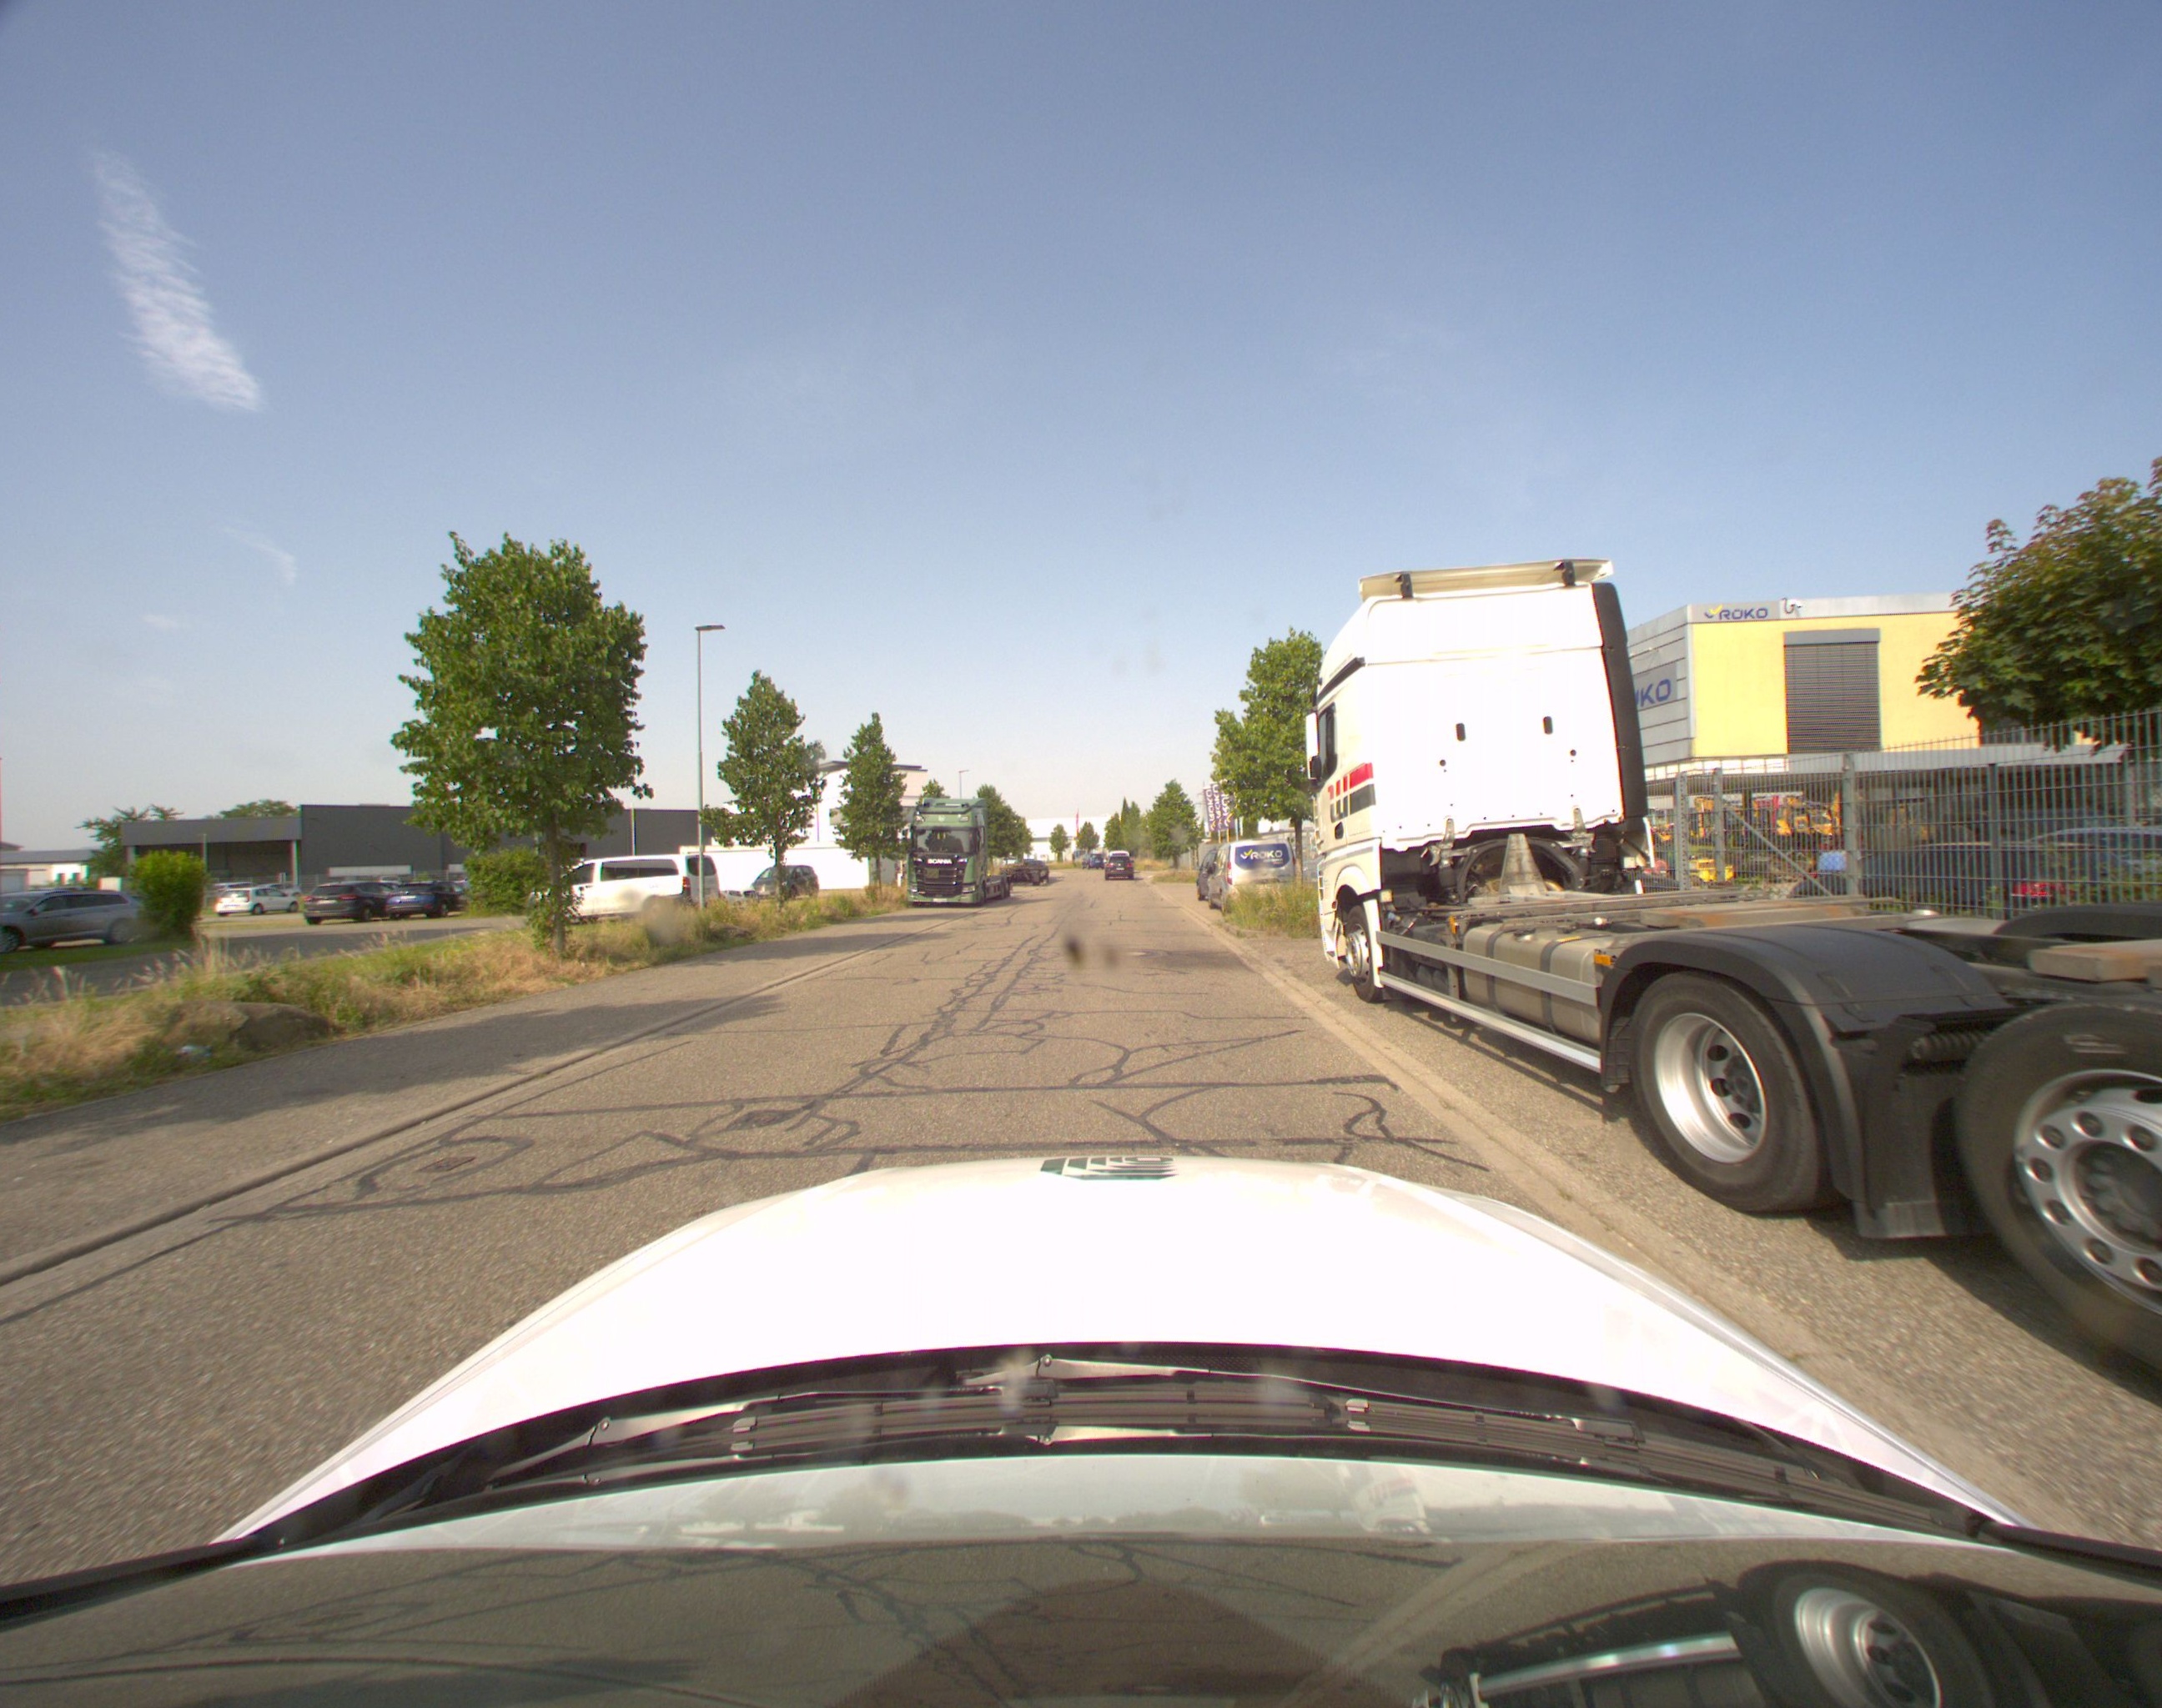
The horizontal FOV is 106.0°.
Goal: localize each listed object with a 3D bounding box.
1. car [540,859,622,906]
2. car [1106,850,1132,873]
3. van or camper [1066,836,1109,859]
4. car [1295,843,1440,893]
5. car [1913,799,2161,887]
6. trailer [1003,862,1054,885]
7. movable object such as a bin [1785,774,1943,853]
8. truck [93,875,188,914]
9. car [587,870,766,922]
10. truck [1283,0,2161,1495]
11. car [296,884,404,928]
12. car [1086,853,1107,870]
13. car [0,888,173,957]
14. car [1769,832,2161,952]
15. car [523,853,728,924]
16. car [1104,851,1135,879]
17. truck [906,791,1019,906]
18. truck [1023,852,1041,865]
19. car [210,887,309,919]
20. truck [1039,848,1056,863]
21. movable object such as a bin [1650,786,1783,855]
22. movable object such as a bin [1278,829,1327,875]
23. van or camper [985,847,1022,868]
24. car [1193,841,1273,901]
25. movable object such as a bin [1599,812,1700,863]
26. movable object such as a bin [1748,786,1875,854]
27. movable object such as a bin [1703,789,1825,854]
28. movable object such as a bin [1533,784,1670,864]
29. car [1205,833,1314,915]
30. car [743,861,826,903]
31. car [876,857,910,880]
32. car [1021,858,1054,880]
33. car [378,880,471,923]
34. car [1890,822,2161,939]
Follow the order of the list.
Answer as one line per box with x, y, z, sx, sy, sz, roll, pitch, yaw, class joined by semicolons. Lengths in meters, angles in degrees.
-29.250;1.631;47.868;2.050;2.547;5.443;-2;-1;-8;car
3.198;0.616;69.743;1.987;1.899;4.466;-2;0;0;car
0.812;-0.784;108.774;2.363;2.848;7.273;-1;-1;-29;van or camper
9.597;0.443;27.526;4.213;1.495;1.898;-2;1;-2;car
24.188;-0.280;20.548;4.338;2.002;1.897;-2;0;3;car
-3.271;1.197;52.240;2.119;1.232;7.169;0;0;6;trailer
43.230;-2.085;45.260;2.710;3.929;6.019;-3;-1;-2;movable object such as a bin
-67.716;2.886;58.724;1.982;2.514;4.009;-2;0;8;truck
-12.786;1.307;25.925;4.704;1.431;2.003;-2;0;5;car
3.699;-0.706;4.663;2.735;4.015;9.691;-4;0;2;truck
-28.393;1.965;31.799;1.974;1.486;3.968;-2;-1;-24;car
1.617;0.755;84.552;1.985;1.804;4.003;0;0;3;car
-25.872;1.682;20.576;1.576;1.481;4.504;-2;-1;-13;car
12.699;0.467;12.007;1.876;1.432;4.004;-2;0;4;car
-13.014;0.960;23.499;4.685;1.836;2.104;-2;0;2;car
2.608;0.709;55.336;1.985;1.804;4.003;0;0;3;car
-4.399;-0.128;32.478;2.444;3.882;9.812;0;-1;4;truck
-9.540;0.857;158.988;2.440;2.265;8.009;-2;0;3;truck
-44.419;2.620;44.176;1.574;1.481;4.139;-2;-1;-8;car
-6.583;0.338;158.845;2.440;2.826;8.009;-2;0;3;truck
39.714;-1.963;51.257;2.459;3.929;7.198;-3;0;-1;movable object such as a bin
14.207;-0.148;52.547;1.879;2.752;5.164;-2;0;3;movable object such as a bin
-11.609;0.577;121.497;2.348;2.943;6.895;-2;0;-35;van or camper
4.768;0.524;26.099;1.819;1.720;4.250;-2;-1;1;car
33.689;-0.964;48.509;2.047;2.769;5.691;-3;0;1;movable object such as a bin
46.716;-2.049;52.359;2.444;3.929;6.140;-3;-1;-1;movable object such as a bin
43.380;-1.965;51.986;2.444;3.780;6.140;-3;-1;-1;movable object such as a bin
28.432;-1.530;44.965;2.908;3.929;7.209;-3;0;1;movable object such as a bin
4.360;0.490;20.646;1.985;1.789;4.604;-2;-1;4;car
-13.552;1.226;37.561;1.986;1.686;4.700;-3;0;1;car
-14.485;1.088;62.807;1.766;1.525;4.300;-2;1;-3;car
-3.153;1.074;60.156;1.985;1.466;4.436;0;0;3;car
-26.065;1.831;32.494;1.852;1.486;3.968;-2;-1;-24;car
15.212;0.323;12.262;1.884;1.556;4.098;-2;0;-2;car
